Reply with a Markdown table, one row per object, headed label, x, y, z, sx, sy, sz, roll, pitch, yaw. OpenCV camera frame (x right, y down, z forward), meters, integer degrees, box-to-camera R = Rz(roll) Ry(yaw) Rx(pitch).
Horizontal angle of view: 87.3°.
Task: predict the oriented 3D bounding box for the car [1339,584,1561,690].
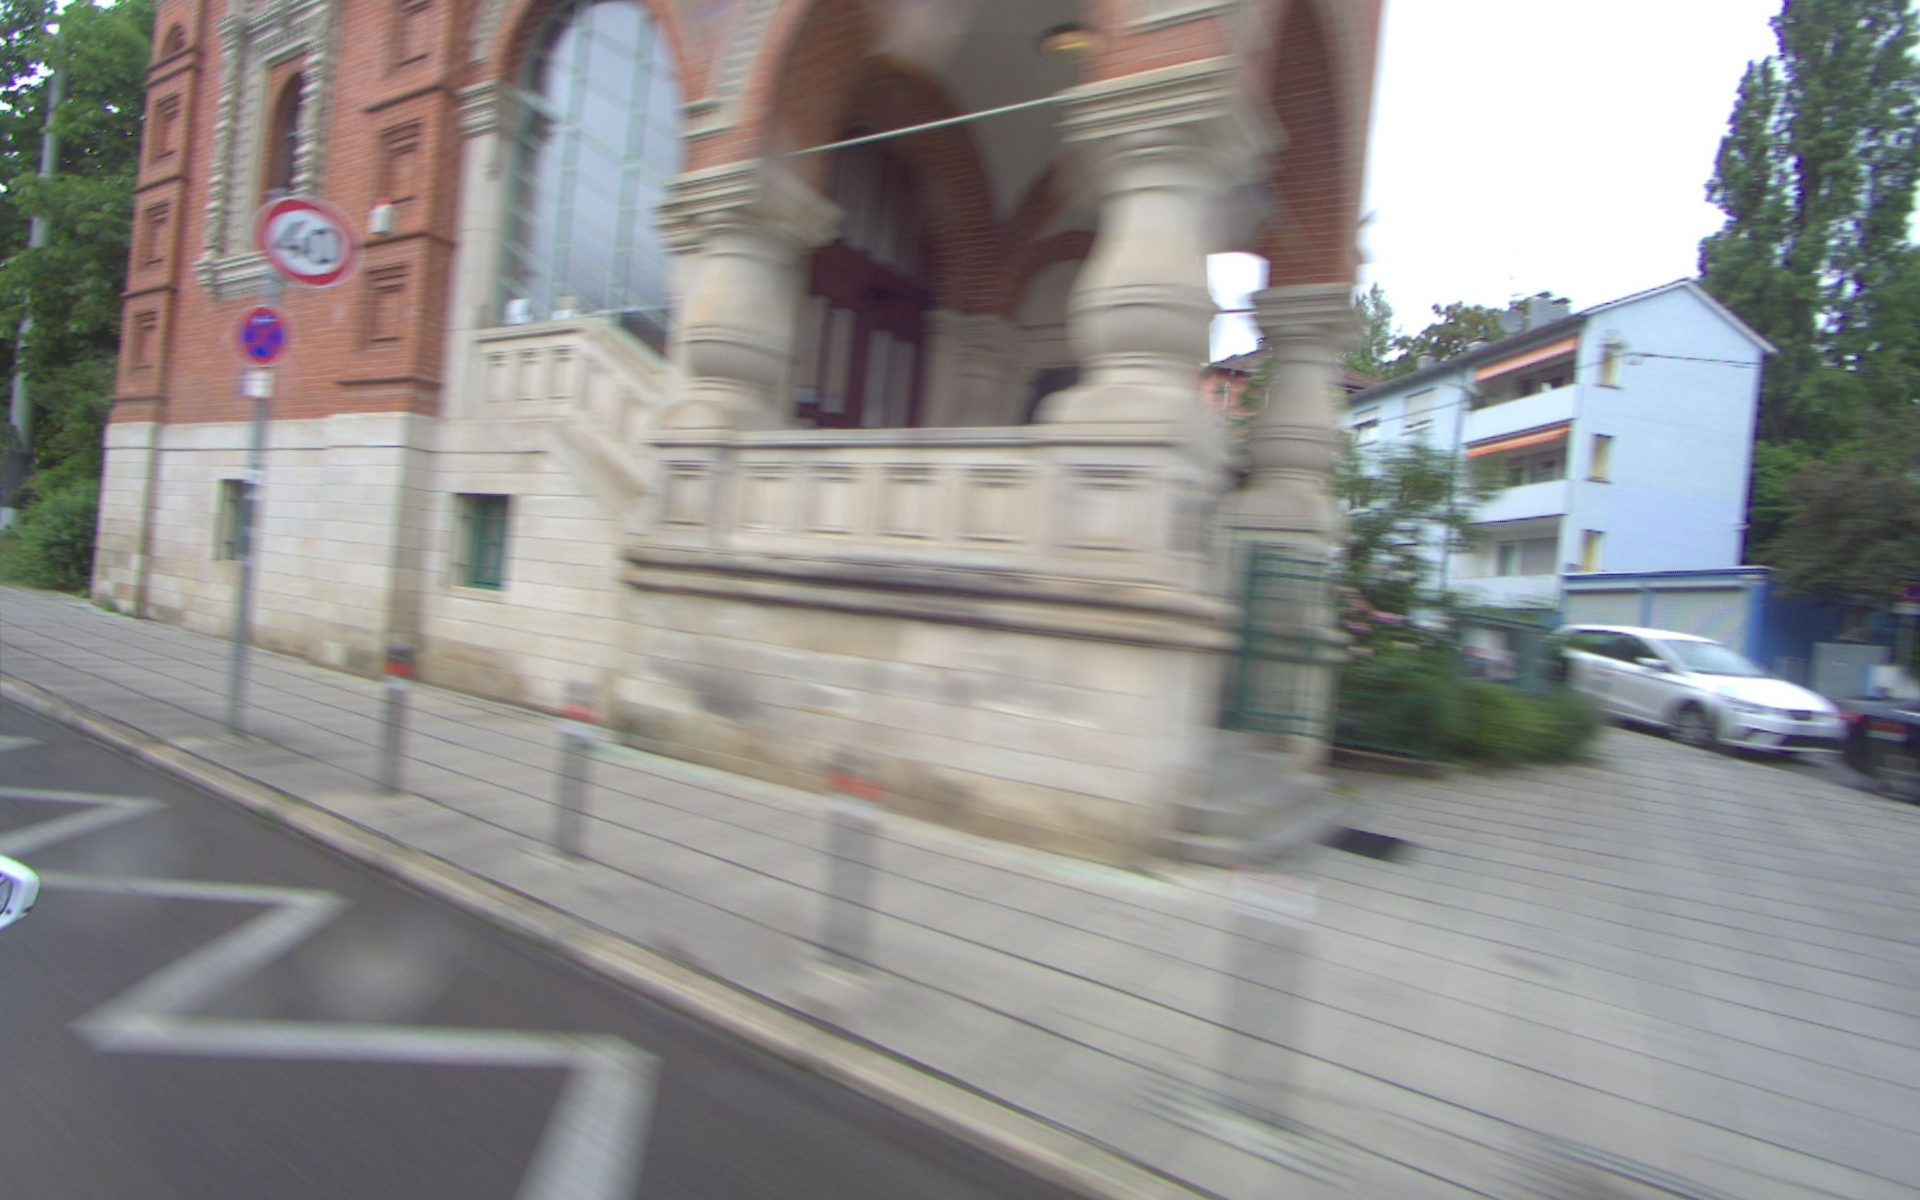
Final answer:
| label | x | y | z | sx | sy | sz | roll | pitch | yaw |
| --- | --- | --- | --- | --- | --- | --- | --- | --- | --- |
| car | 9.154 | 0.618 | 19.162 | 1.909 | 1.465 | 3.616 | 2 | 6 | -11 |

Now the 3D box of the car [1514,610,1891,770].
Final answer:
| label | x | y | z | sx | sy | sz | roll | pitch | yaw |
| --- | --- | --- | --- | --- | --- | --- | --- | --- | --- |
| car | 10.203 | 1.148 | 14.279 | 1.914 | 1.516 | 3.915 | 5 | 4 | -11 |

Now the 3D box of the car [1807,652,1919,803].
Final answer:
| label | x | y | z | sx | sy | sz | roll | pitch | yaw |
| --- | --- | --- | --- | --- | --- | --- | --- | --- | --- |
| car | 10.838 | 1.515 | 9.162 | 1.909 | 1.388 | 4.462 | 4 | 4 | -11 |
